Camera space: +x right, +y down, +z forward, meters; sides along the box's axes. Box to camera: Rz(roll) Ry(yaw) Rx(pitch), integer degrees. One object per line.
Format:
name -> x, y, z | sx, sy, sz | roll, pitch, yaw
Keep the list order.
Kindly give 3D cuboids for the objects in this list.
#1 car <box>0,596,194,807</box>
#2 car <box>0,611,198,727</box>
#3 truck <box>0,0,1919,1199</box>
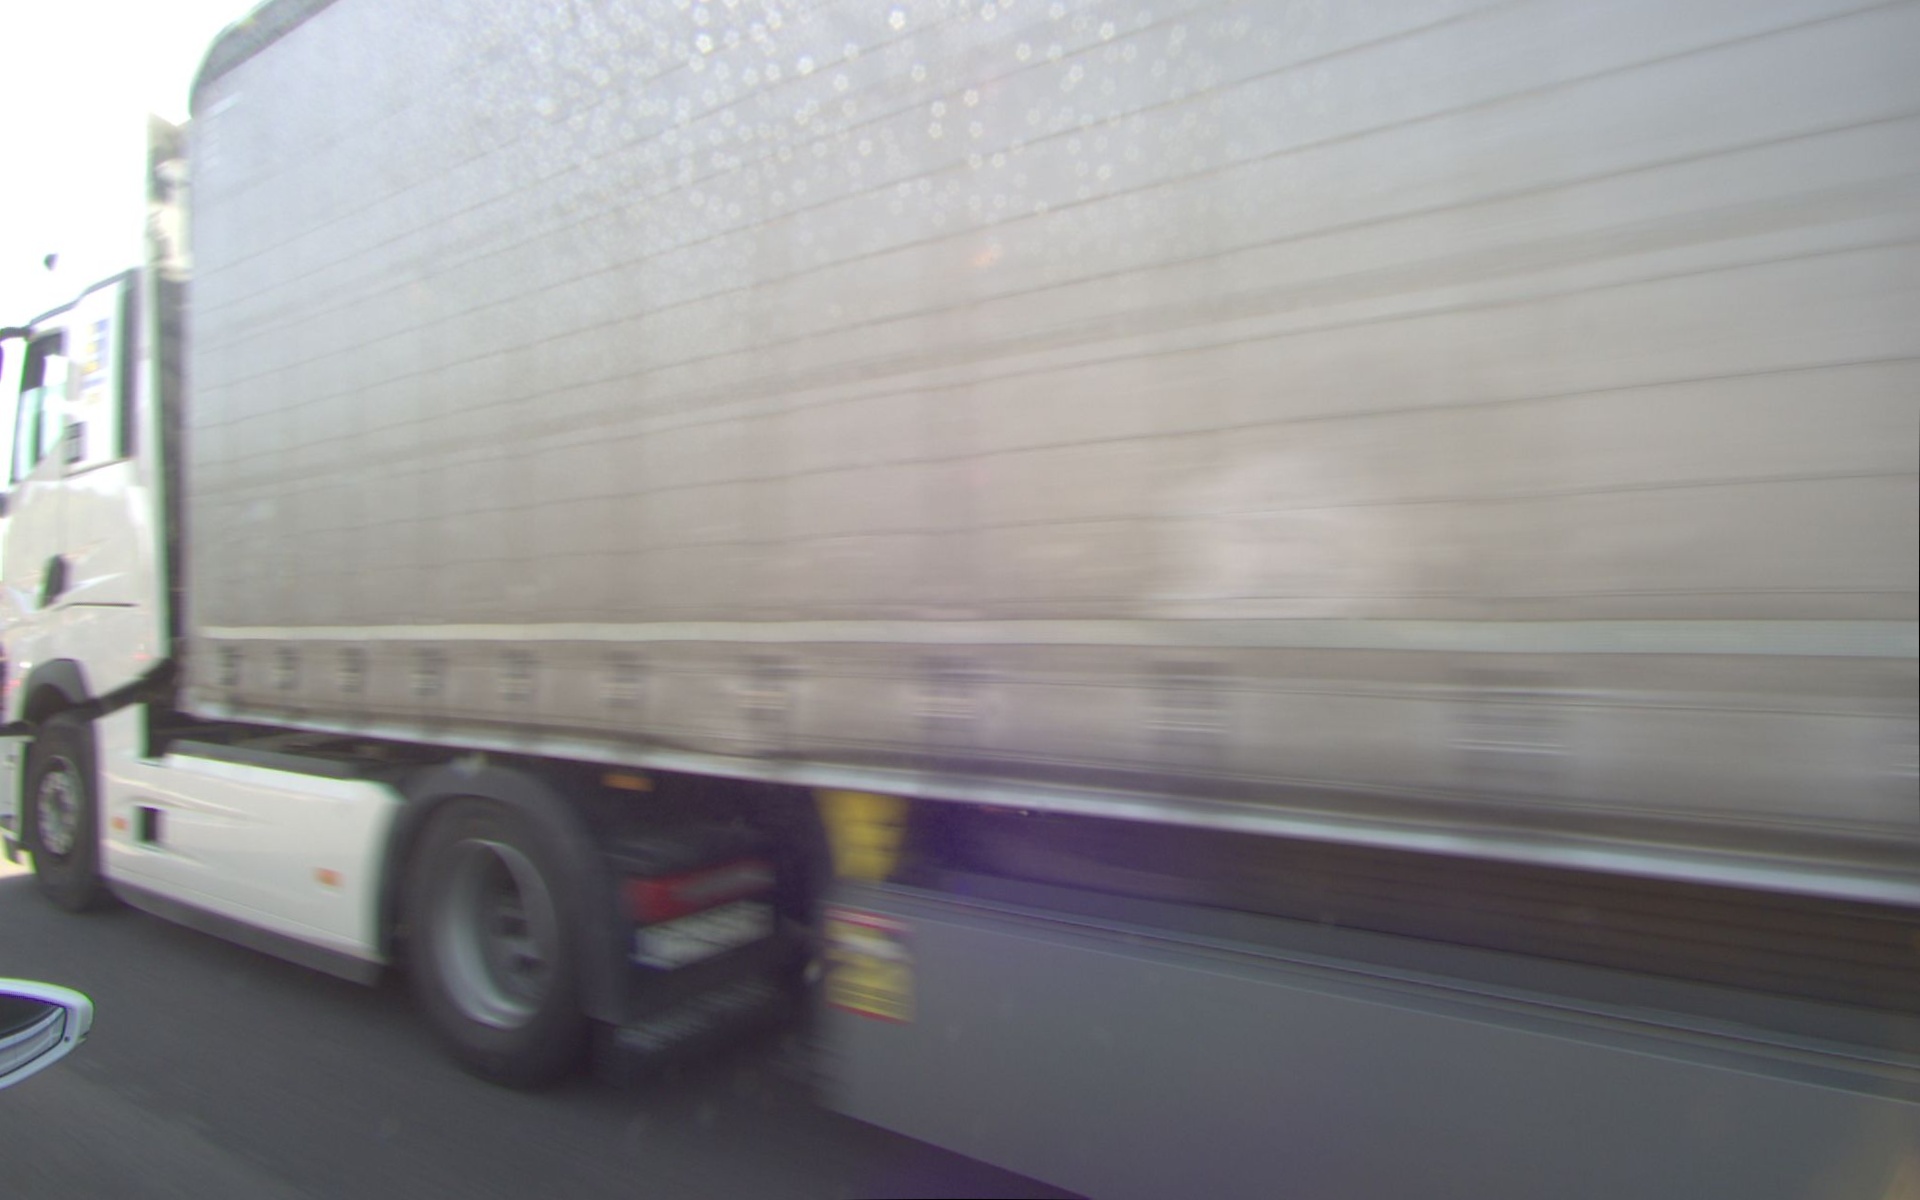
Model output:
car -> -9.225, 0.858, 9.515 | 3.943, 1.706, 1.816 | -1, -2, 32
car -> -14.527, 1.071, 16.532 | 3.942, 1.706, 1.816 | -1, -2, 32
truck -> 1.841, -0.612, 2.549 | 16.475, 4.319, 2.885 | -1, -3, 33
